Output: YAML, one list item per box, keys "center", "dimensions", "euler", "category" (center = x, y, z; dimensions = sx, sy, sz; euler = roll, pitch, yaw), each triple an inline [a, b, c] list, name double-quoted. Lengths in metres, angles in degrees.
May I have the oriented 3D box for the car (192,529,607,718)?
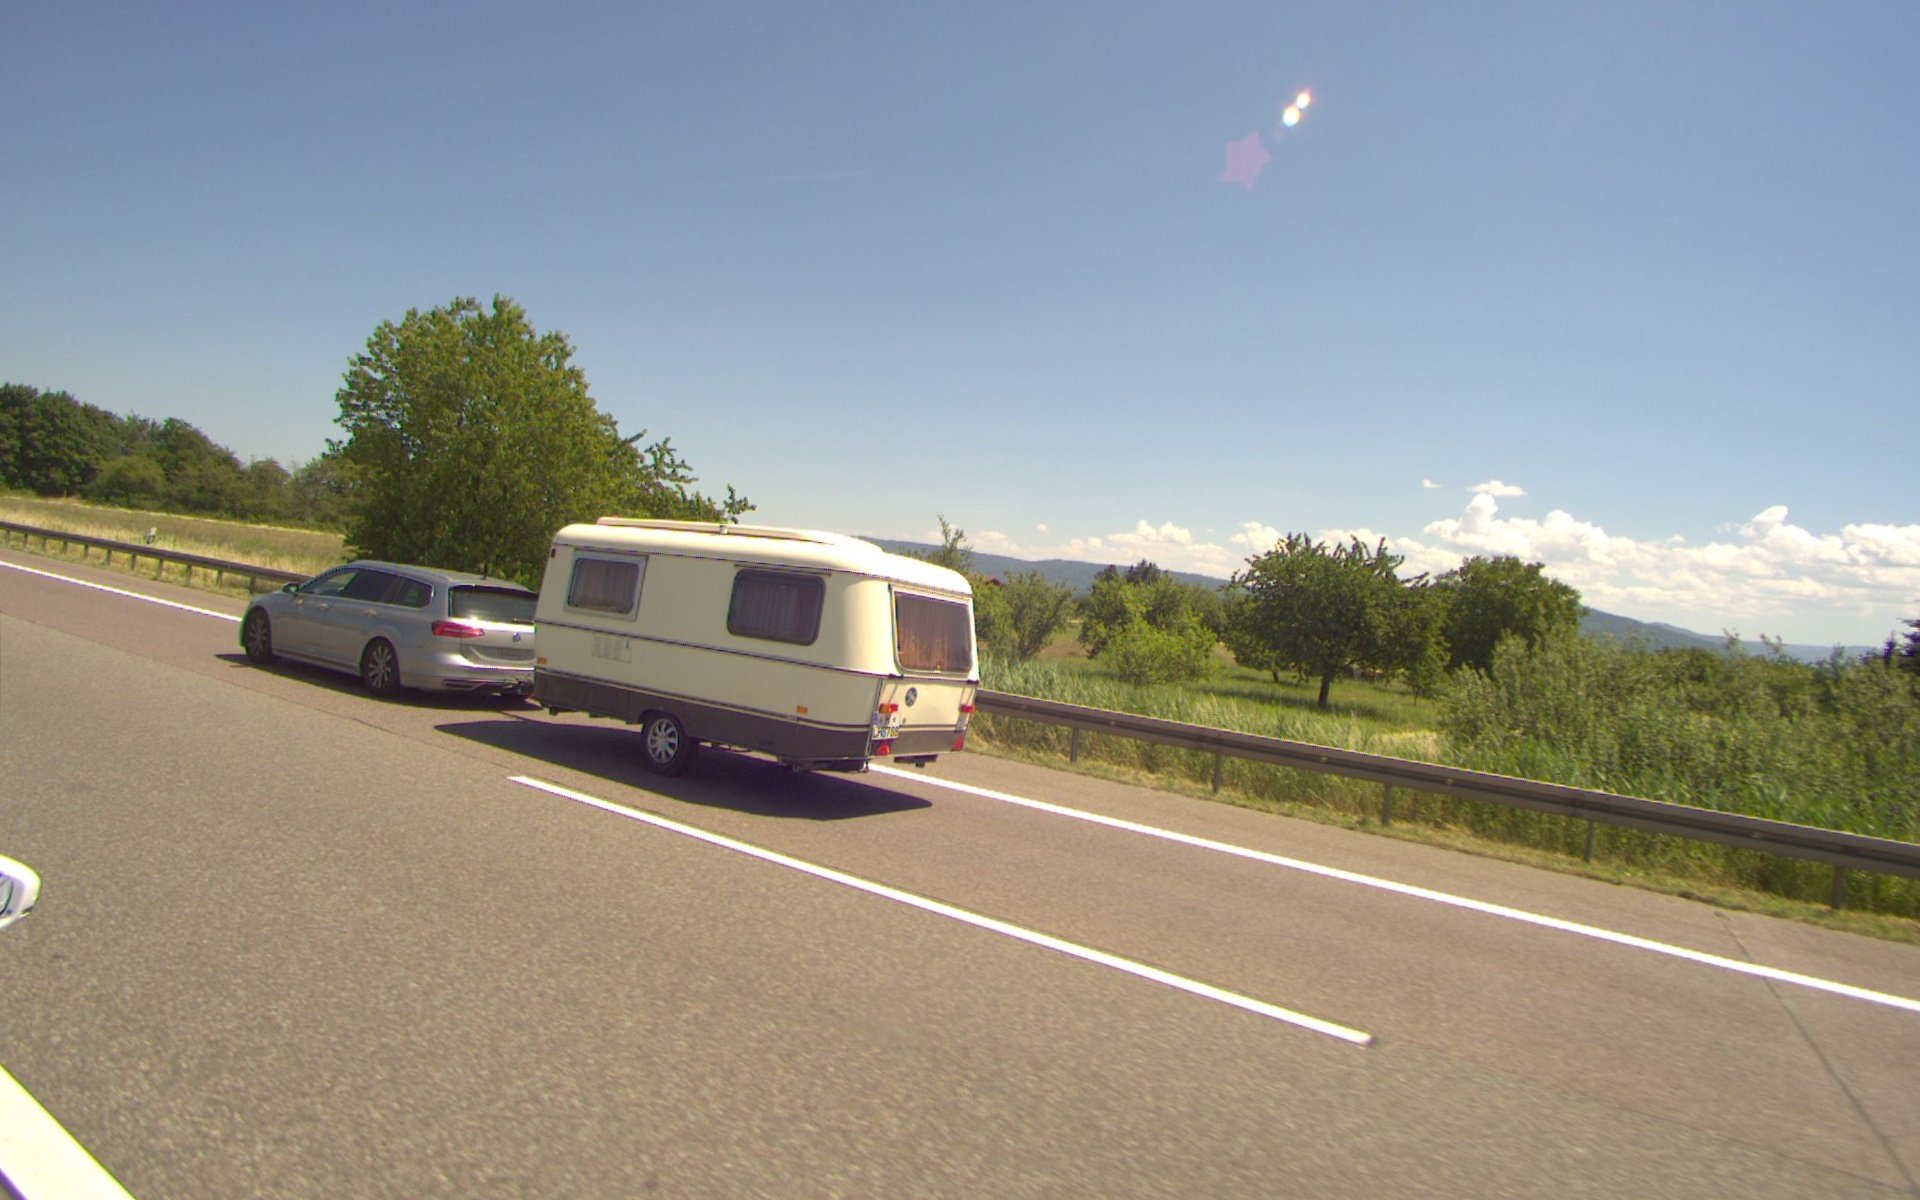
- center: [-6.934, 0.237, 12.253]
  dimensions: [5.289, 1.532, 1.891]
  euler: [7, -2, 31]
  category: "car"

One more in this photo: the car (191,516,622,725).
- center: [-6.863, 0.166, 12.260]
  dimensions: [5.417, 1.678, 2.048]
  euler: [8, 0, 31]
  category: "car"

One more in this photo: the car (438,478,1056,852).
- center: [-2.112, 0.378, 9.457]
  dimensions: [5.232, 2.351, 2.445]
  euler: [8, 1, 31]
  category: "car"
